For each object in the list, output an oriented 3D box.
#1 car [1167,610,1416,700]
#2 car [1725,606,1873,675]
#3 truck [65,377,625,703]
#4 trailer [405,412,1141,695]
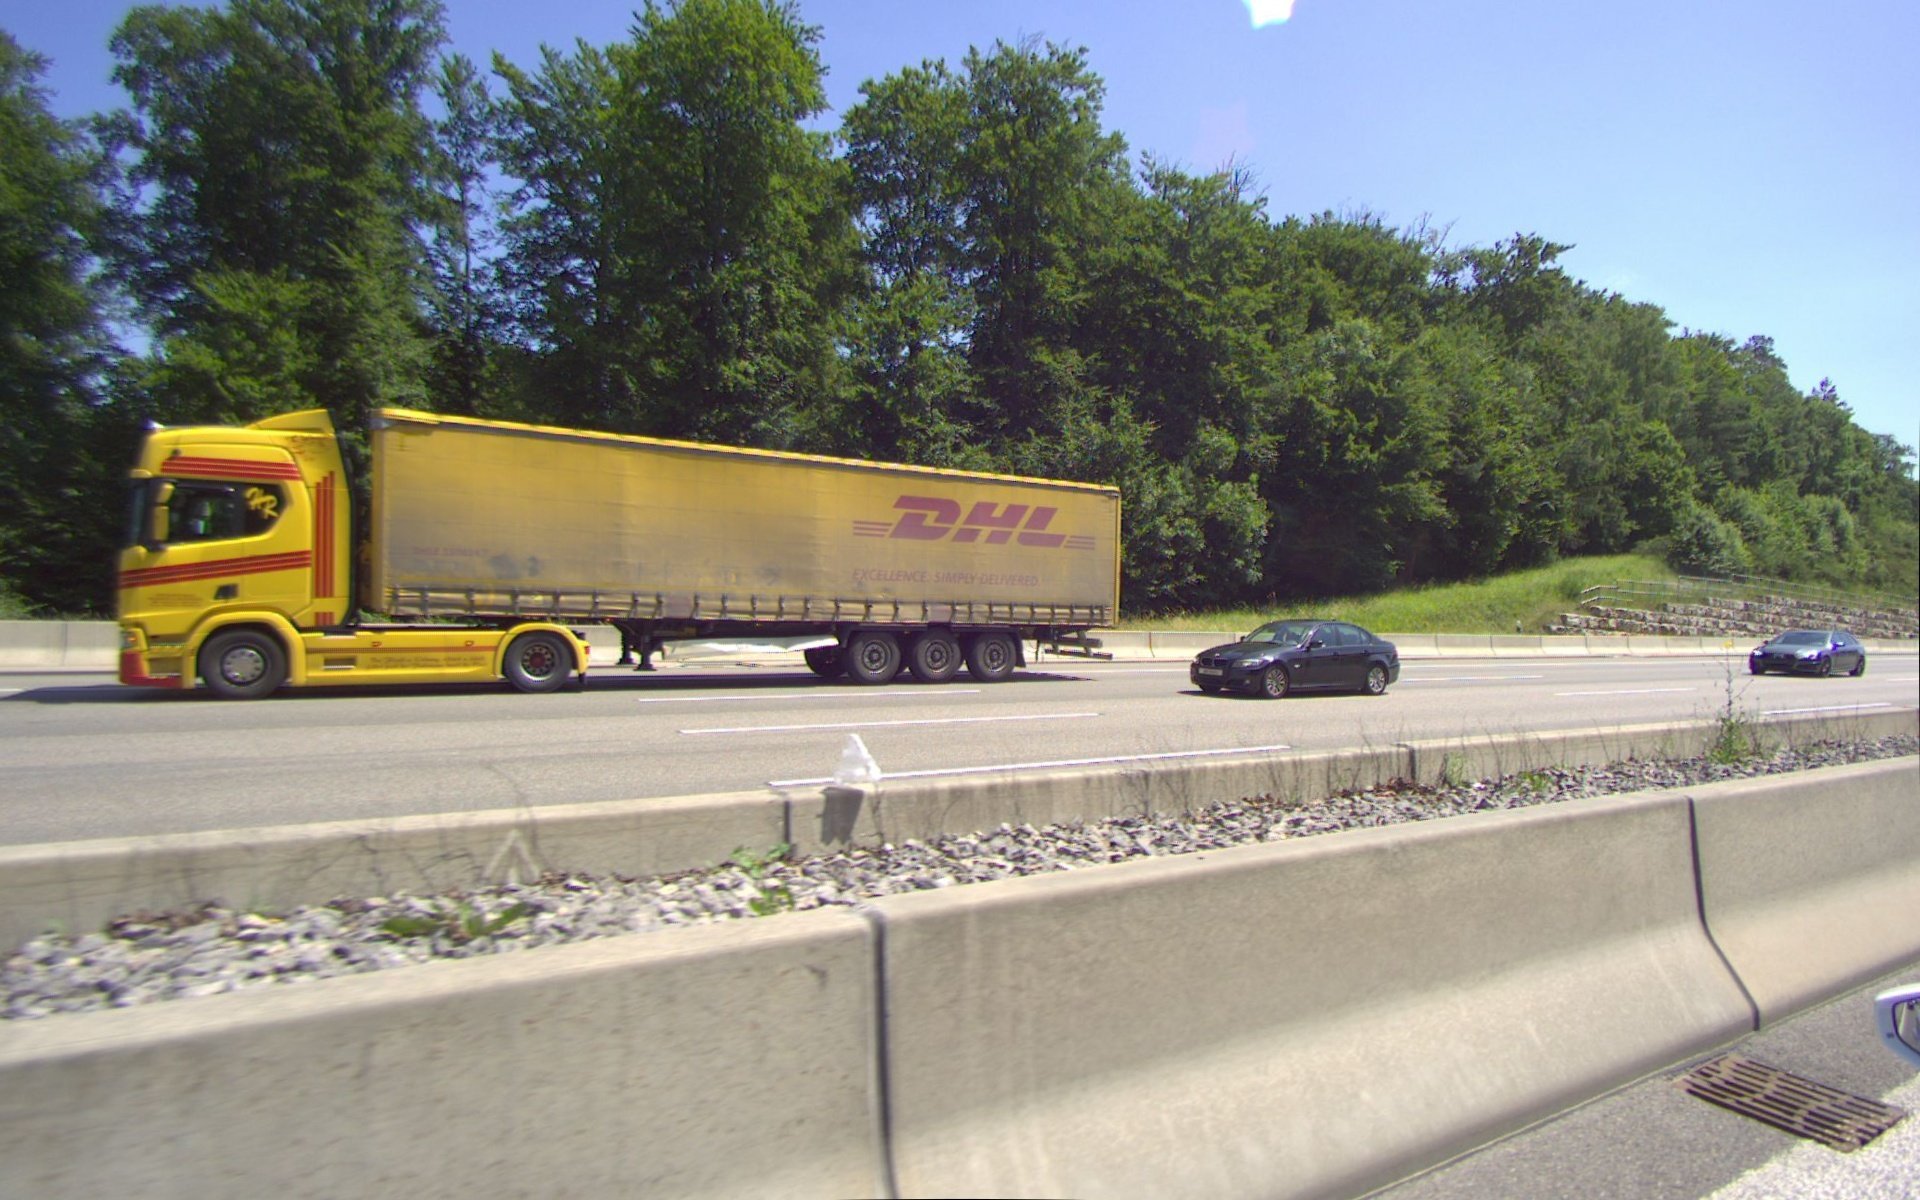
[{"bbox_3d":[6.319,0.999,19.052,4.526,1.503,1.984,2,0,-30],"label":"car"},{"bbox_3d":[26.046,1.265,31.123,5.194,1.896,1.982,3,0,-32],"label":"car"},{"bbox_3d":[-8.890,-0.678,15.393,6.672,4.071,2.737,1,0,-30],"label":"truck"},{"bbox_3d":[-2.730,-0.518,19.028,13.562,4.058,2.710,2,0,-30],"label":"trailer"}]
